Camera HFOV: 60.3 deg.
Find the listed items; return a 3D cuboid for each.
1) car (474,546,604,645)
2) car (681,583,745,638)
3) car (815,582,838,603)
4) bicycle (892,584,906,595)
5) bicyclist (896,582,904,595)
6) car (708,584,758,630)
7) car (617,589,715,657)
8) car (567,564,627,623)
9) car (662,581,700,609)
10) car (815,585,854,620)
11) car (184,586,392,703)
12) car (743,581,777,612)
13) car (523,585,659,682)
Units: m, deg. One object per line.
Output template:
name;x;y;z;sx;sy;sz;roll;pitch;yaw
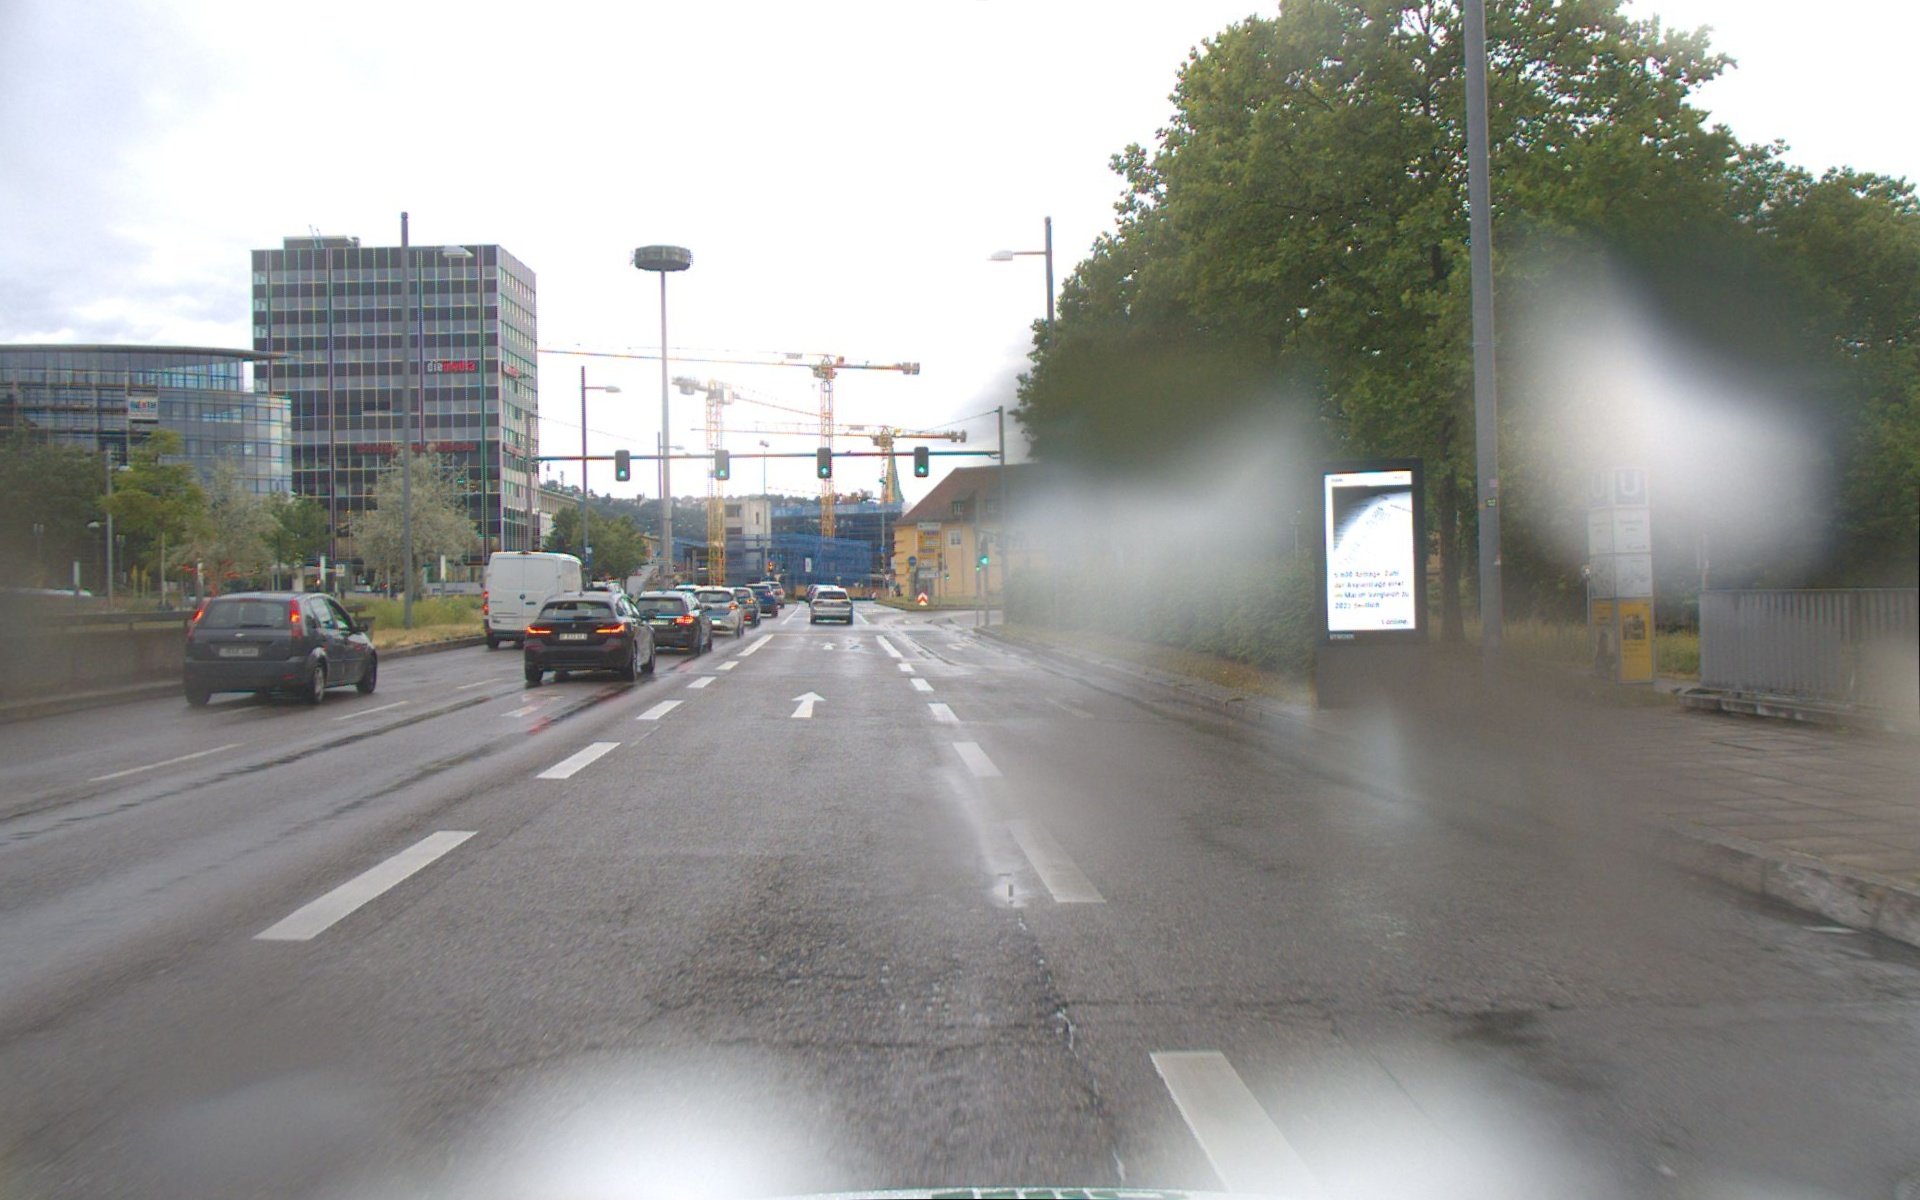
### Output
car;-10.573;-0.062;41.963;2.247;2.355;5.002;0;-1;-3
car;-7.698;0.350;51.819;1.844;1.682;3.452;0;-1;-7
car;-6.807;-0.388;84.256;1.054;1.008;1.971;0;-2;-1
bicycle;-6.274;-1.067;169.384;0.867;1.027;1.981;0;-1;-19
bicyclist;-6.111;-1.213;169.165;0.693;1.298;0.631;0;-1;-20
car;-8.811;0.299;64.413;1.682;1.758;3.491;0;-1;-4
car;-6.832;0.542;38.738;1.793;1.521;3.397;0;-1;-2
car;-11.108;-0.165;50.773;1.436;1.736;3.137;0;-1;-6
car;-13.357;-0.245;79.227;1.520;1.282;2.578;0;-1;-4
car;-5.078;0.108;66.907;1.415;1.383;2.411;0;-1;-1
car;-8.990;0.581;22.434;1.512;1.440;3.897;0;-1;-5
car;-9.359;-0.151;77.557;1.464;1.393;3.030;0;-1;-4
car;-6.227;0.515;28.345;1.719;1.497;4.218;0;1;-5
